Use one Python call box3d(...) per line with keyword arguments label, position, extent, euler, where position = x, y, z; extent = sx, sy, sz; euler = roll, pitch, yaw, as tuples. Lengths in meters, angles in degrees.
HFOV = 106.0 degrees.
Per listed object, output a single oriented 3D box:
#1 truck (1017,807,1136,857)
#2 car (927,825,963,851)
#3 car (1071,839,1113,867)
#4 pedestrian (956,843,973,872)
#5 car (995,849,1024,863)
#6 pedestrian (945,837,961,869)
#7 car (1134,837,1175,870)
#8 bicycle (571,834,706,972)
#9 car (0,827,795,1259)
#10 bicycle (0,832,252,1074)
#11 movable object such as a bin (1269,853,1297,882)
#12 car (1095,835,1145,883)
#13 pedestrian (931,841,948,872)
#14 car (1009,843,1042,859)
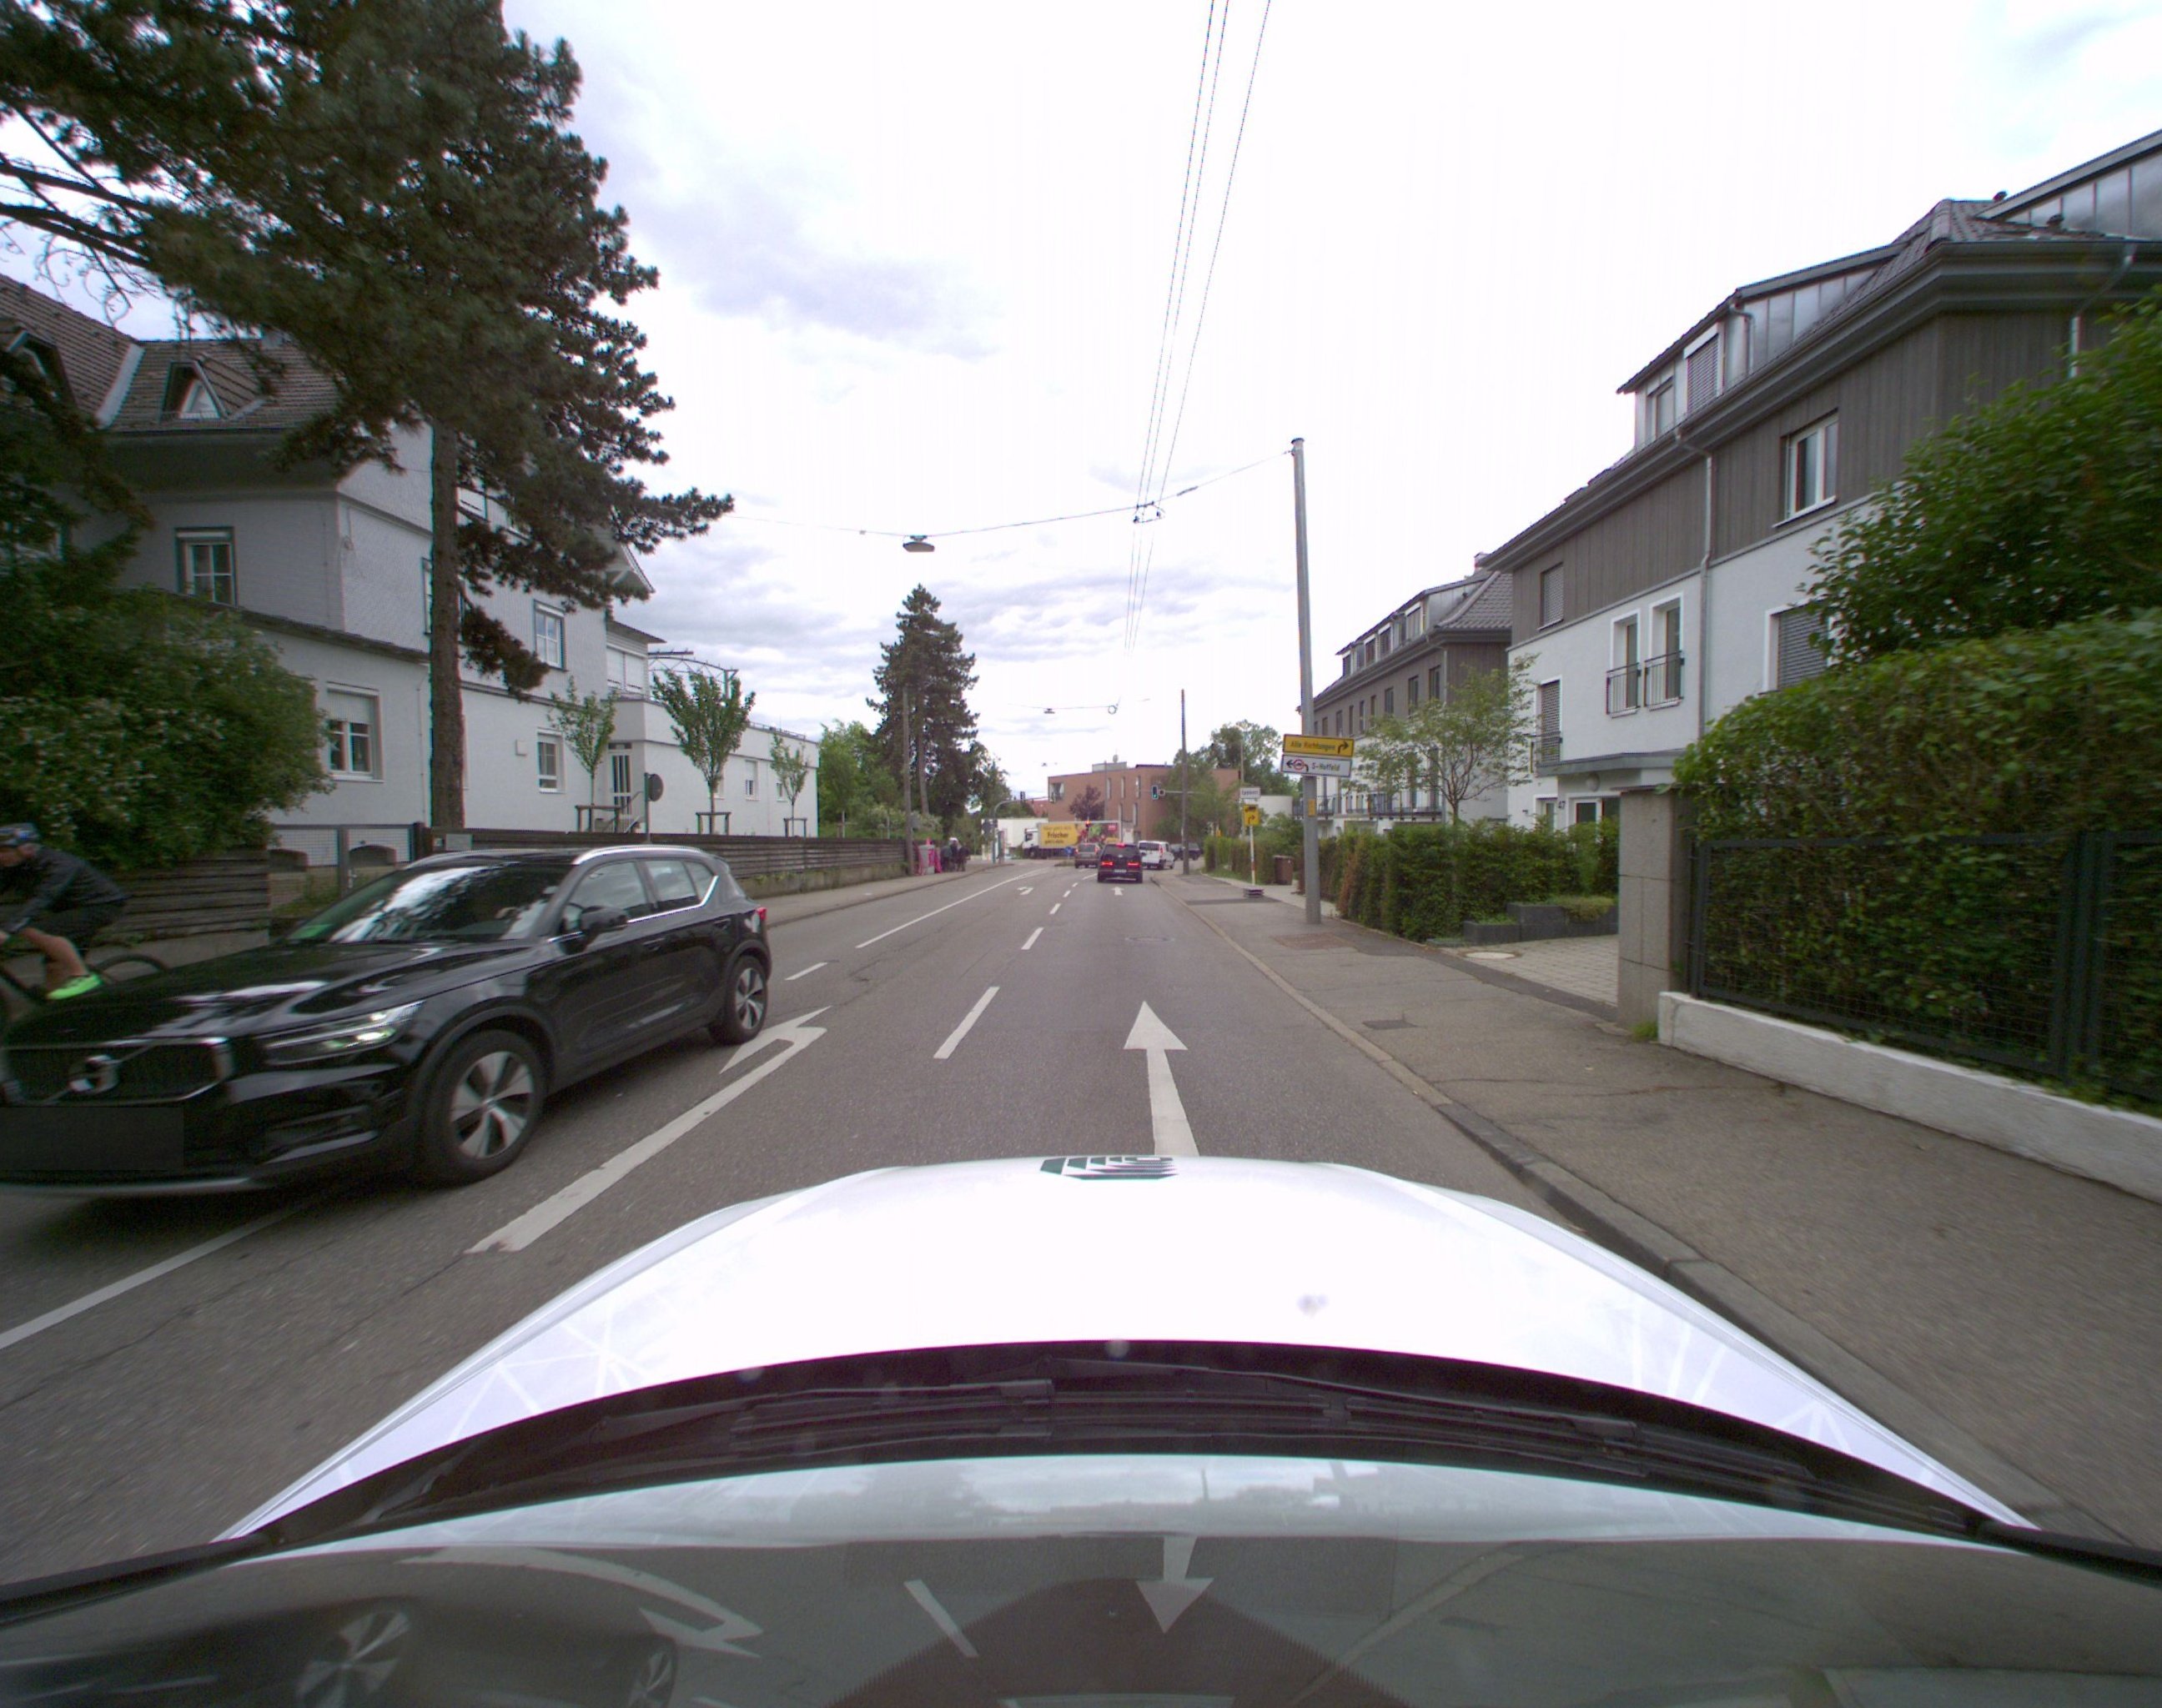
box3d(label="truck", position=(-0.506, -2.120, 80.973), extent=(11.646, 4.734, 3.155), euler=(0, 1, 27))
box3d(label="car", position=(-12.110, -1.416, 72.037), extent=(2.286, 2.227, 6.433), euler=(-1, 1, -17))
box3d(label="car", position=(0.754, -0.094, 53.130), extent=(1.880, 1.706, 4.014), euler=(-1, 1, 13))
box3d(label="pedestrian", position=(-6.958, 0.190, 48.563), extent=(0.757, 1.734, 0.687), euler=(-1, 1, -44))
box3d(label="car", position=(-10.749, 0.291, 121.956), extent=(3.993, 2.013, 1.990), euler=(-1, 1, -15))
box3d(label="pedestrian", position=(-7.453, -0.085, 47.454), extent=(0.754, 1.837, 0.609), euler=(-1, 1, -27))
box3d(label="car", position=(4.986, -0.091, 54.825), extent=(1.947, 2.013, 4.446), euler=(3, 2, 15))
box3d(label="bicycle", position=(-6.116, 0.623, 11.399), extent=(0.756, 1.744, 1.872), euler=(-2, 0, 1))
box3d(label="car", position=(-3.652, 0.726, 5.306), extent=(1.824, 1.630, 4.286), euler=(-2, 0, 3))
box3d(label="bicycle", position=(-7.737, 0.677, 6.306), extent=(0.559, 1.676, 1.981), euler=(0, 1, 1))
box3d(label="movable object such as a bin", position=(7.461, 0.498, 30.095), extent=(0.719, 1.073, 0.675), euler=(1, 0, -36))
box3d(label="car", position=(1.659, 0.175, 35.106), extent=(1.986, 1.881, 4.002), euler=(2, 1, 2))
box3d(label="pedestrian", position=(-8.221, 0.117, 47.351), extent=(0.818, 1.763, 0.861), euler=(-1, 1, -21))
box3d(label="car", position=(-7.569, -0.431, 111.740), extent=(4.008, 2.013, 1.983), euler=(-2, 1, -26))
